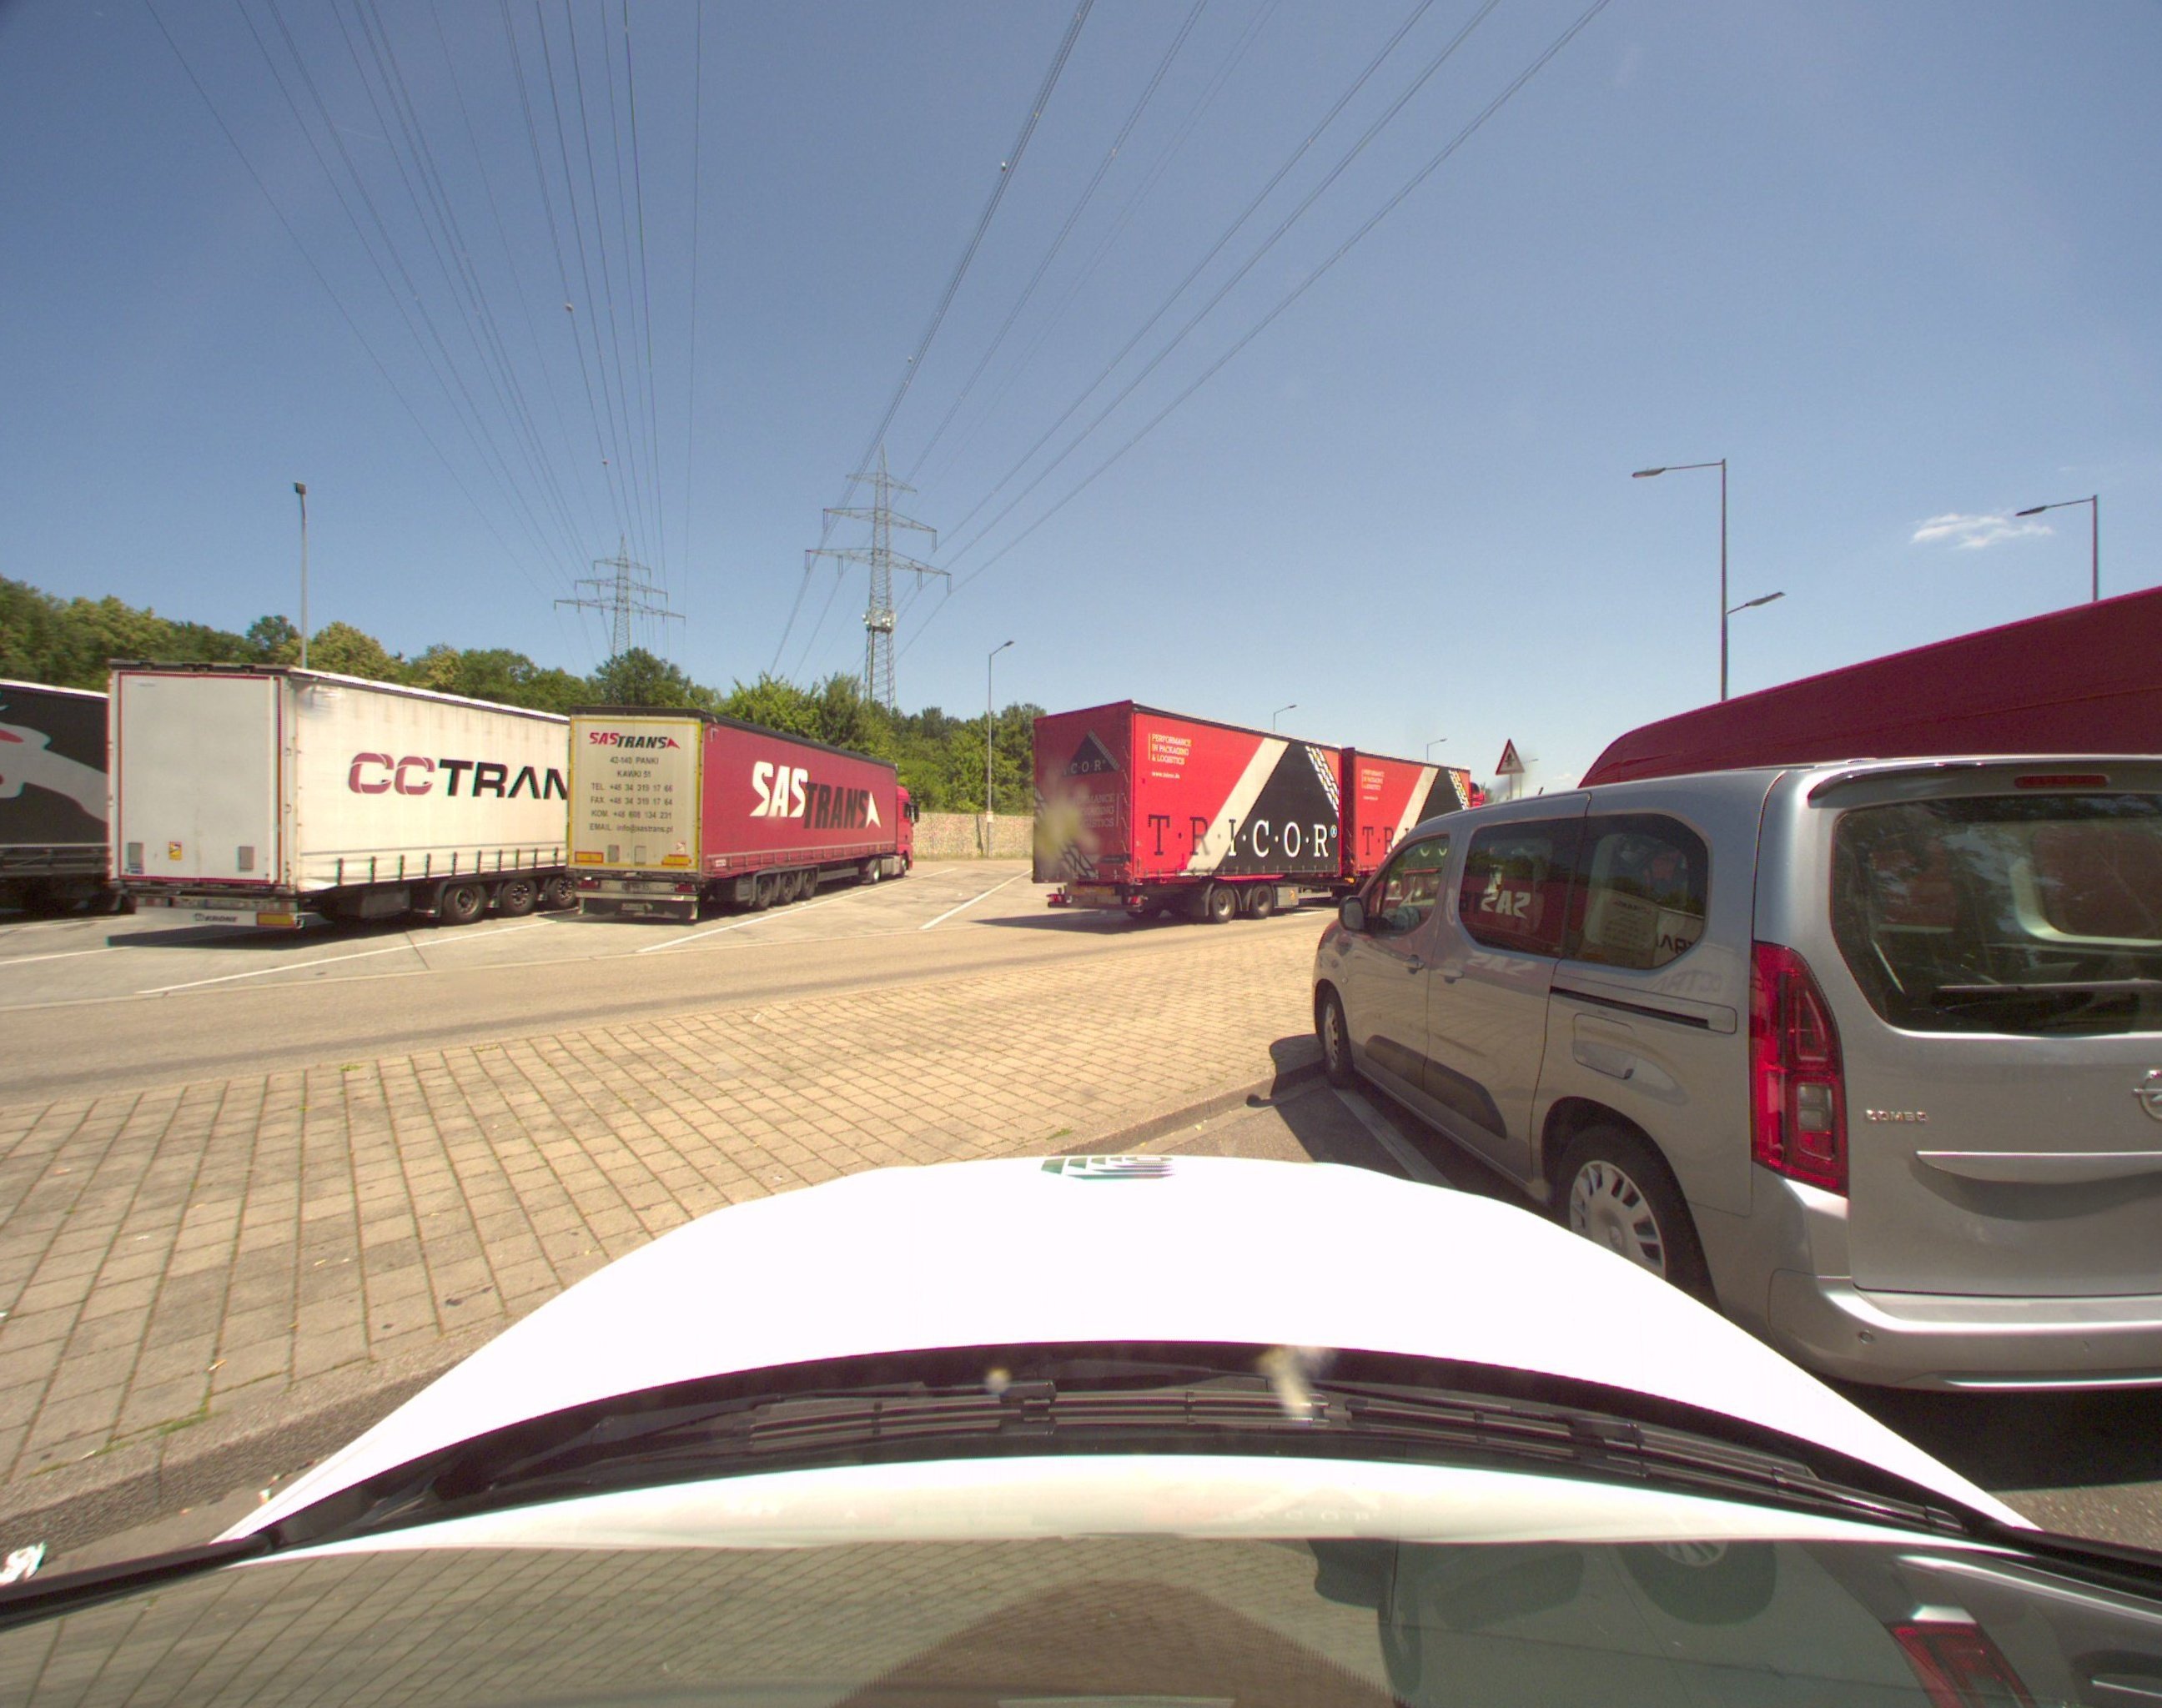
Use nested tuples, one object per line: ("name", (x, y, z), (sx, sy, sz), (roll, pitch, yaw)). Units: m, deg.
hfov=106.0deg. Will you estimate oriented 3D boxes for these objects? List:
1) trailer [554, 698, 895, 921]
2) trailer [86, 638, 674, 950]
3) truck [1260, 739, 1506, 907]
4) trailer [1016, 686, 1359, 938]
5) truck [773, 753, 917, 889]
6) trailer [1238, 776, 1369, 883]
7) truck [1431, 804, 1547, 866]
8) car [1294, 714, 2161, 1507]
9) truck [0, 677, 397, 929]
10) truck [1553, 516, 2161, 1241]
("trailer", (-8.030, -0.915, 21.538), (2.739, 4.057, 13.292), (-1, 1, 2))
("trailer", (-12.085, -0.892, 16.059), (2.734, 4.263, 9.740), (-1, 1, 3))
("truck", (9.592, -0.850, 24.695), (10.666, 4.127, 2.661), (-1, 1, -44))
("trailer", (2.802, -0.778, 17.889), (2.808, 4.257, 8.737), (0, 1, 44))
("truck", (-7.823, -1.048, 28.001), (2.733, 4.081, 6.832), (-1, 1, 2))
("trailer", (9.958, -1.064, 38.394), (2.865, 4.124, 13.577), (0, 1, 2))
("truck", (24.481, -1.127, 49.417), (3.013, 3.437, 8.534), (-1, 1, 2))
("car", (2.483, 0.531, 3.835), (1.821, 1.753, 3.998), (-1, 1, -2))
("truck", (-18.497, -0.852, 15.953), (2.627, 4.018, 8.640), (-1, 1, 2))
("truck", (5.112, 0.052, 4.857), (1.983, 2.623, 5.312), (-1, 1, 6))
